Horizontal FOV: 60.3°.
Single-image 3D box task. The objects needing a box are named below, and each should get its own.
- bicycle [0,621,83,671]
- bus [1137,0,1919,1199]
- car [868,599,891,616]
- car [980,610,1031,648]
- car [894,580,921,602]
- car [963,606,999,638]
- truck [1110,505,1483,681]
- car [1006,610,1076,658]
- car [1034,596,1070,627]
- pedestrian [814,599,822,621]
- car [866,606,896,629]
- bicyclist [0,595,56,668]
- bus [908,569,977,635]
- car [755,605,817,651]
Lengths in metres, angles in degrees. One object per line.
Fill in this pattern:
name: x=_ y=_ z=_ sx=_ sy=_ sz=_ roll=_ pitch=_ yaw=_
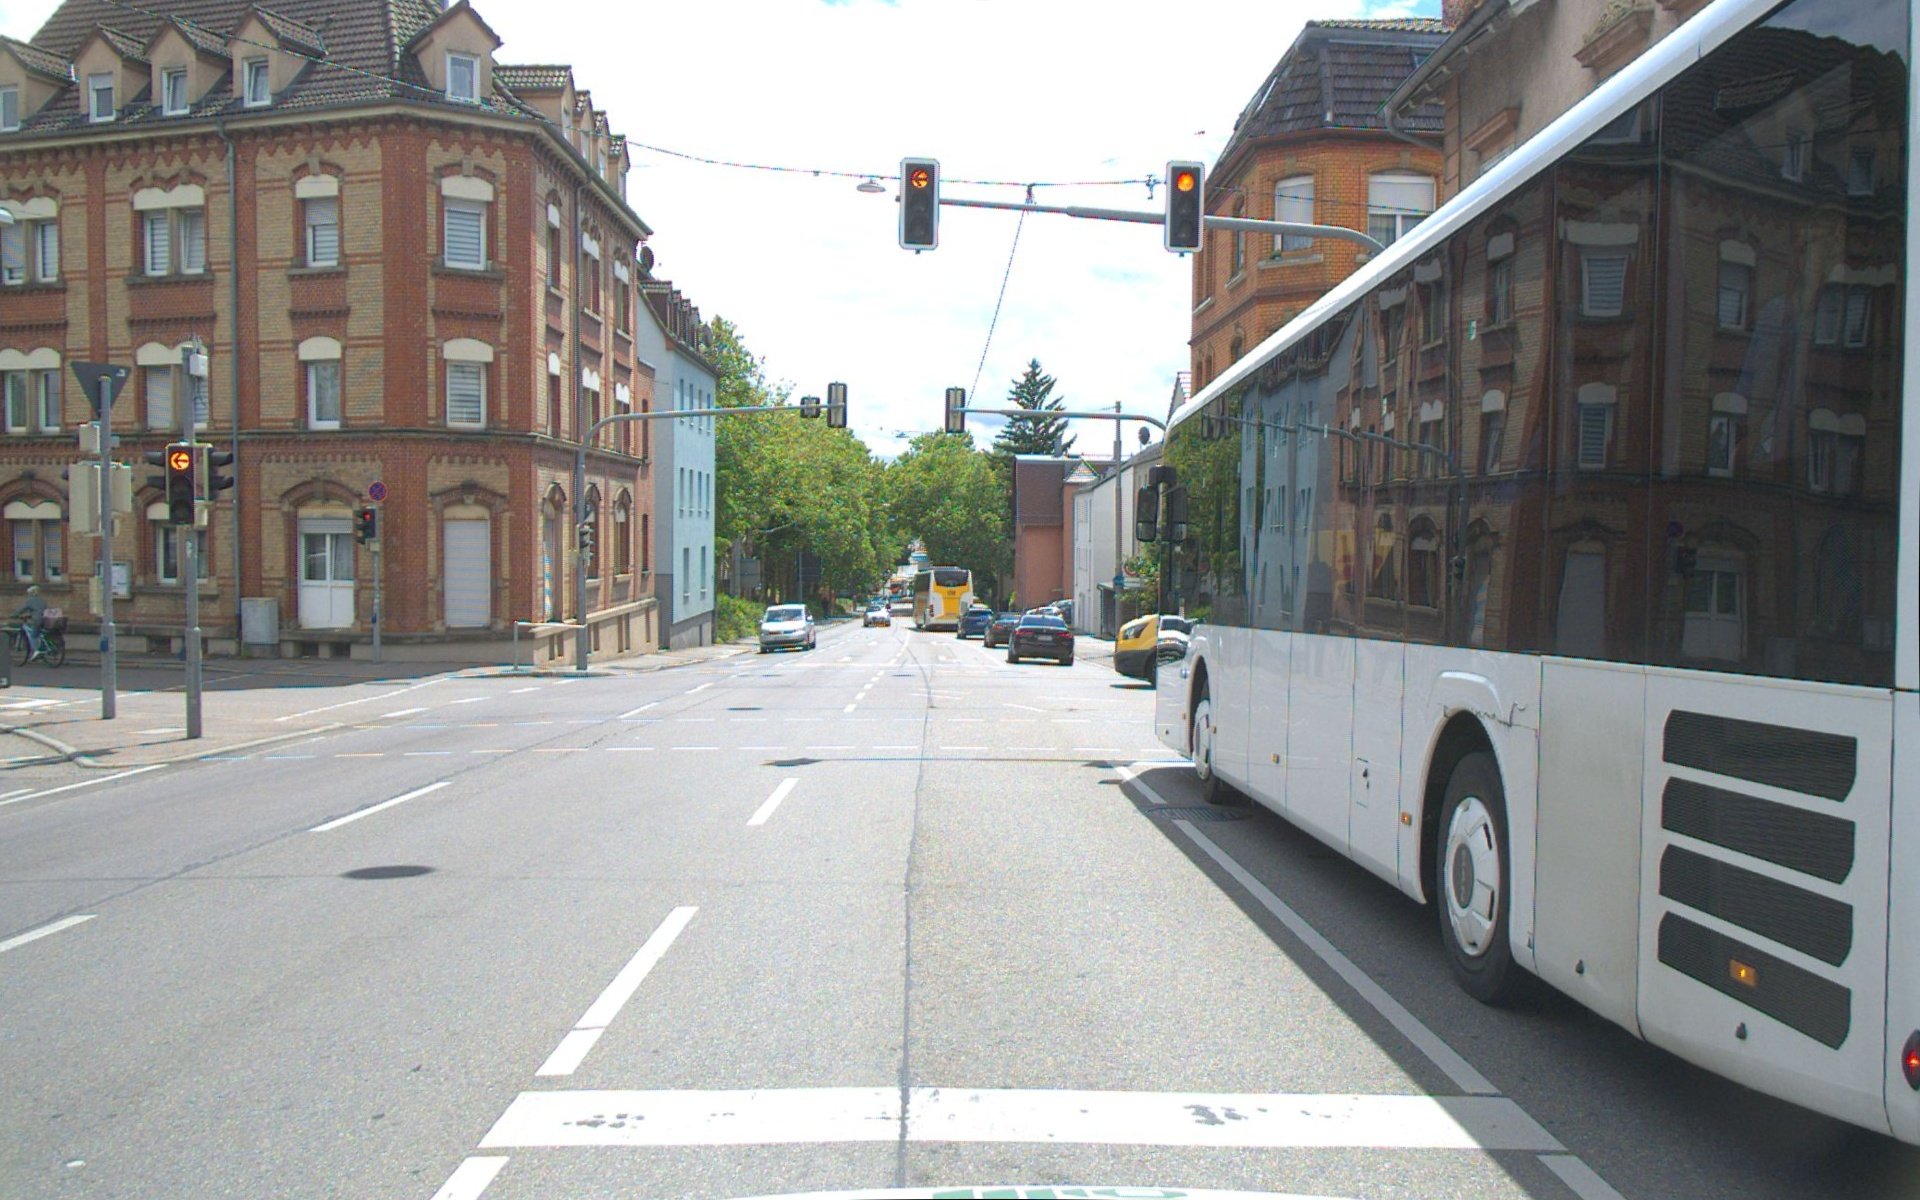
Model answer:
bicycle: x=-19.723 y=0.970 z=34.966 sx=2.138 sy=1.037 sz=0.606 roll=0 pitch=0 yaw=7
bus: x=3.209 y=-0.128 z=9.334 sx=2.845 sy=3.571 sz=12.484 roll=1 pitch=0 yaw=-1
car: x=-8.150 y=0.745 z=167.630 sx=2.162 sy=1.641 sz=4.546 roll=0 pitch=0 yaw=-1
car: x=1.755 y=1.133 z=65.433 sx=1.827 sy=1.391 sz=4.546 roll=0 pitch=0 yaw=-1
car: x=-7.727 y=-1.352 z=244.744 sx=2.096 sy=3.124 sz=5.629 roll=1 pitch=0 yaw=18
car: x=0.955 y=0.992 z=76.361 sx=1.576 sy=1.400 sz=3.999 roll=0 pitch=0 yaw=-1
truck: x=6.083 y=-0.135 z=30.483 sx=6.411 sy=2.964 sz=2.551 roll=1 pitch=0 yaw=9
car: x=2.319 y=0.961 z=47.986 sx=1.761 sy=1.298 sz=3.999 roll=-1 pitch=0 yaw=-1
car: x=5.175 y=0.618 z=93.330 sx=1.731 sy=1.695 sz=3.999 roll=0 pitch=0 yaw=-1
pedestrian: x=-11.683 y=0.824 z=136.398 sx=0.594 sy=1.789 sz=0.653 roll=0 pitch=0 yaw=-2
car: x=-5.195 y=1.138 z=108.915 sx=1.827 sy=1.391 sz=4.546 roll=0 pitch=0 yaw=-1
bicyclist: x=-19.805 y=0.666 z=34.979 sx=1.048 sy=1.526 sz=0.590 roll=0 pitch=0 yaw=7
bus: x=-1.177 y=0.103 z=99.210 sx=3.236 sy=3.694 sz=11.232 roll=-1 pitch=0 yaw=-5
car: x=-6.393 y=1.012 z=61.242 sx=1.896 sy=1.591 sz=4.388 roll=0 pitch=0 yaw=-1
